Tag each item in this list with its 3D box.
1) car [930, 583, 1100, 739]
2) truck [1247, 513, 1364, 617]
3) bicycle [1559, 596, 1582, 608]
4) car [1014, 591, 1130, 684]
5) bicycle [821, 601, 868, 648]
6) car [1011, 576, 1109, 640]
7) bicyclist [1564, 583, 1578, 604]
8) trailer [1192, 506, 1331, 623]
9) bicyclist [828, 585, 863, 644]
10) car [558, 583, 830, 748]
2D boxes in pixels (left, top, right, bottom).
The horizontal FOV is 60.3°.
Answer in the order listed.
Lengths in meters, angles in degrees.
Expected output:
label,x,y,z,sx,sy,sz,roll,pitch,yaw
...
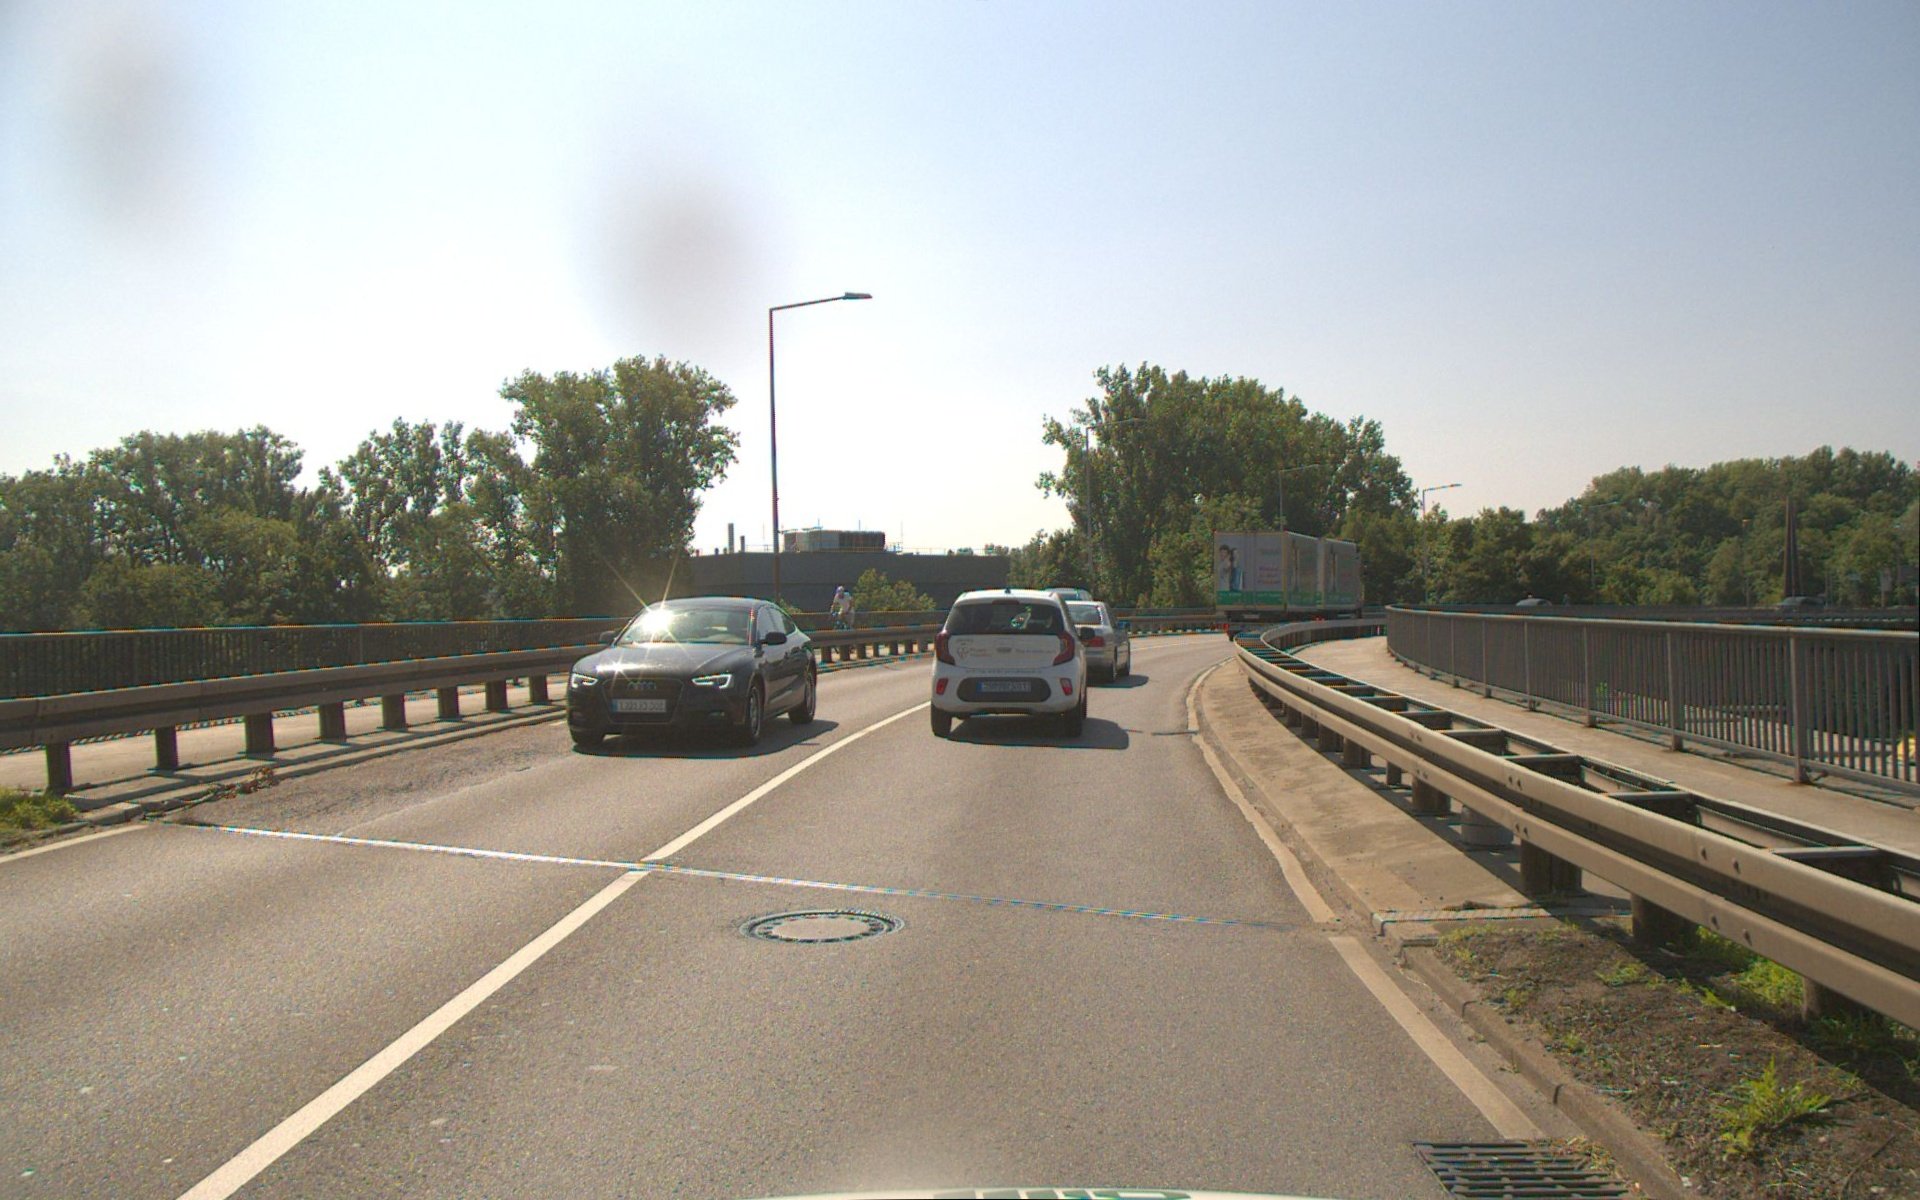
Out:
label,x,y,z,sx,sy,sz,roll,pitch,yaw
car,0.636,0.591,18.611,1.666,1.520,4.001,1,1,2
truck,13.984,-1.422,66.439,3.193,3.823,8.372,2,2,21
bicycle,44.511,0.140,120.596,0.915,0.906,1.956,0,1,41
car,2.039,0.612,29.946,1.898,1.512,4.903,1,0,4
bicycle,-2.942,0.638,42.460,0.599,1.155,2.151,-3,-1,11
car,2.897,0.255,47.128,1.819,1.712,4.475,1,-1,16
bicyclist,44.494,-0.463,120.524,0.650,1.522,1.011,1,2,40
trailer,10.906,-1.278,59.134,3.159,3.823,7.823,2,2,23
bicyclist,-2.947,0.377,42.503,0.595,1.464,1.079,-2,-1,11
car,-2.604,0.620,17.235,1.701,1.482,4.302,1,-1,6
